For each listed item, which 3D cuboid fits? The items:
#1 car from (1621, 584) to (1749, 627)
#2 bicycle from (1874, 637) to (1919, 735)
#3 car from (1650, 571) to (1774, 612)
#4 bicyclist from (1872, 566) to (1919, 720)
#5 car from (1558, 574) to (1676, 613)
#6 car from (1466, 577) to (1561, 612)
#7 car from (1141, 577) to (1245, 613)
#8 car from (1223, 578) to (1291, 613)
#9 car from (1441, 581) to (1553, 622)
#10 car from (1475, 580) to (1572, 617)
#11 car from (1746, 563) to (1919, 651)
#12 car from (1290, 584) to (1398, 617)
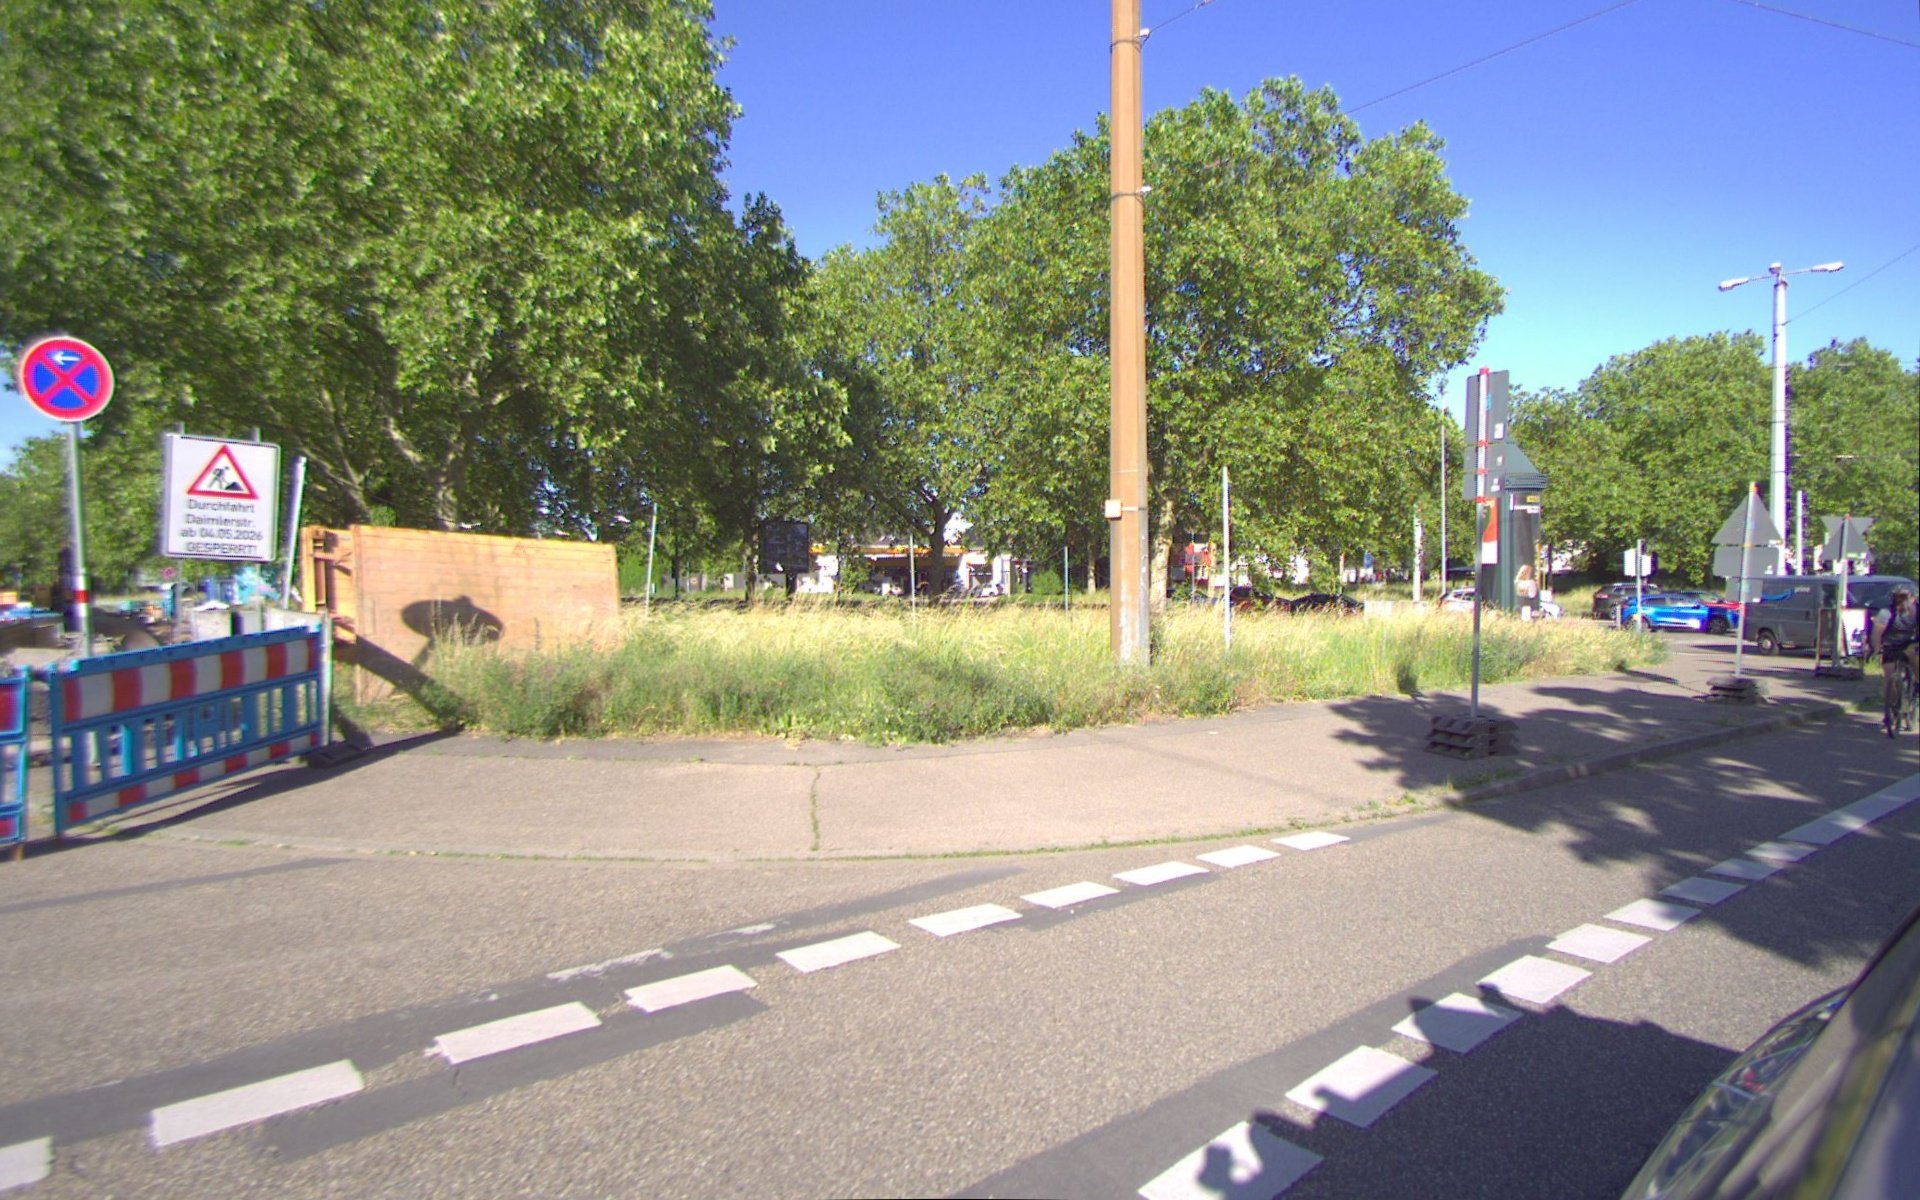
[{"bbox_3d":[28.531,0.230,39.984,3.821,1.621,1.697,-1,0,27],"label":"car"},{"bbox_3d":[11.167,0.971,11.792,2.053,0.934,0.525,-2,2,-41],"label":"bicycle"},{"bbox_3d":[31.718,-0.392,42.838,4.059,1.620,1.796,1,2,32],"label":"car"},{"bbox_3d":[11.007,0.470,11.596,0.916,1.700,0.617,-1,2,-35],"label":"bicyclist"},{"bbox_3d":[30.651,-0.345,47.413,4.454,1.732,1.902,1,2,29],"label":"car"},{"bbox_3d":[26.873,-0.304,49.205,3.964,1.638,1.980,1,1,29],"label":"car"},{"bbox_3d":[11.701,-0.250,50.932,4.733,1.703,1.890,-1,1,29],"label":"car"},{"bbox_3d":[15.297,-0.259,52.094,3.179,1.635,1.360,1,5,28],"label":"car"},{"bbox_3d":[22.954,0.026,43.400,4.137,1.699,1.916,1,1,28],"label":"car"},{"bbox_3d":[25.828,-0.095,46.387,3.830,1.620,1.694,1,1,32],"label":"car"},{"bbox_3d":[23.492,0.084,26.385,2.091,2.096,5.118,0,2,2],"label":"car"},{"bbox_3d":[17.873,-0.002,47.163,4.528,1.425,1.916,1,1,29],"label":"car"}]
